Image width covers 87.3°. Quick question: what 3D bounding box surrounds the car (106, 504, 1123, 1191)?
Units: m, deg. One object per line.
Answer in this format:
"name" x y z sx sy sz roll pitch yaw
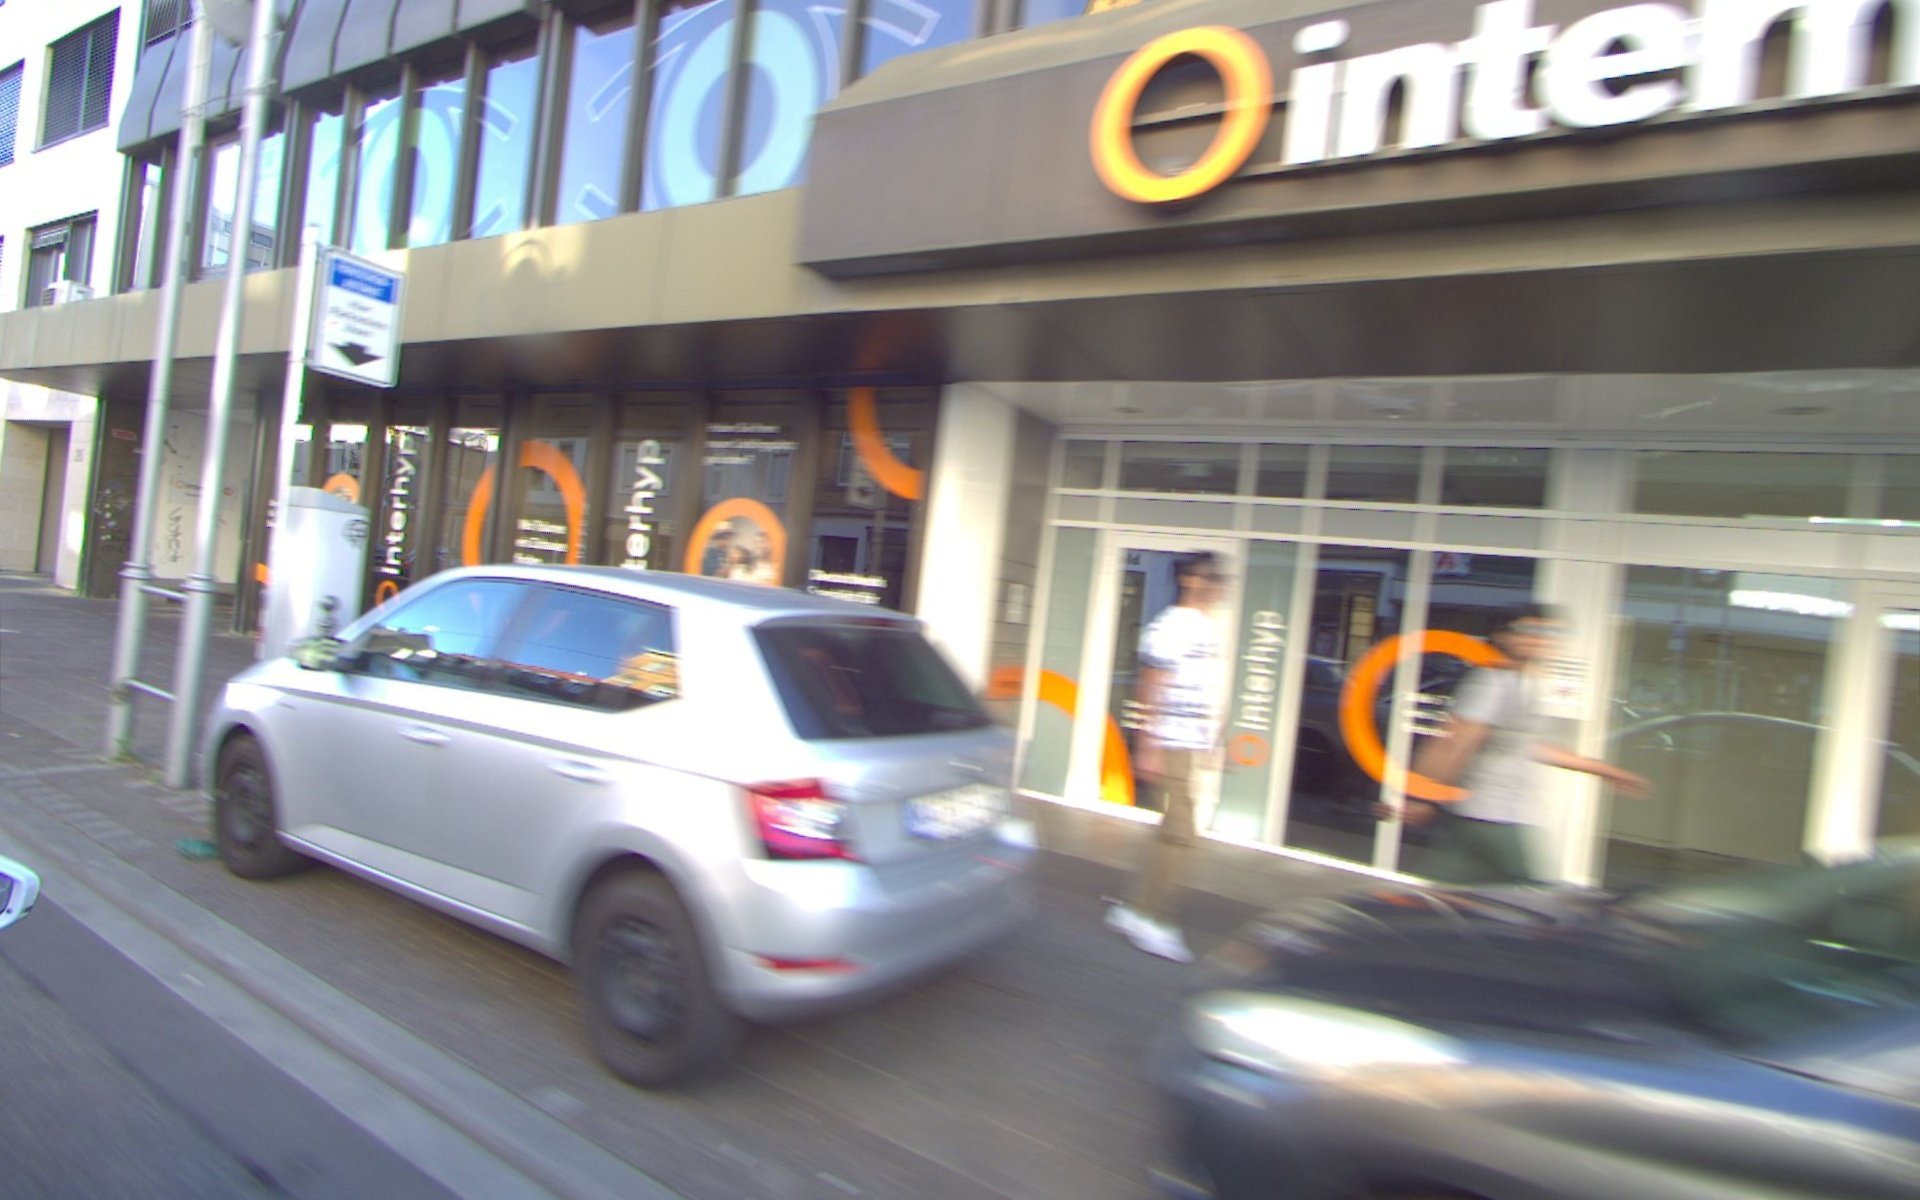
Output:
"car" -1.675 0.556 4.307 4.225 1.480 1.747 7 0 32

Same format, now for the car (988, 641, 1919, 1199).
"car" 2.351 1.080 1.695 4.233 1.480 1.848 7 1 34

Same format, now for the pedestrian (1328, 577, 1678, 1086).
"pedestrian" 2.270 0.864 4.245 1.015 1.774 0.780 7 1 33

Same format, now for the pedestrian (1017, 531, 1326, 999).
"pedestrian" 1.010 0.681 4.753 0.983 1.867 0.923 7 2 33
